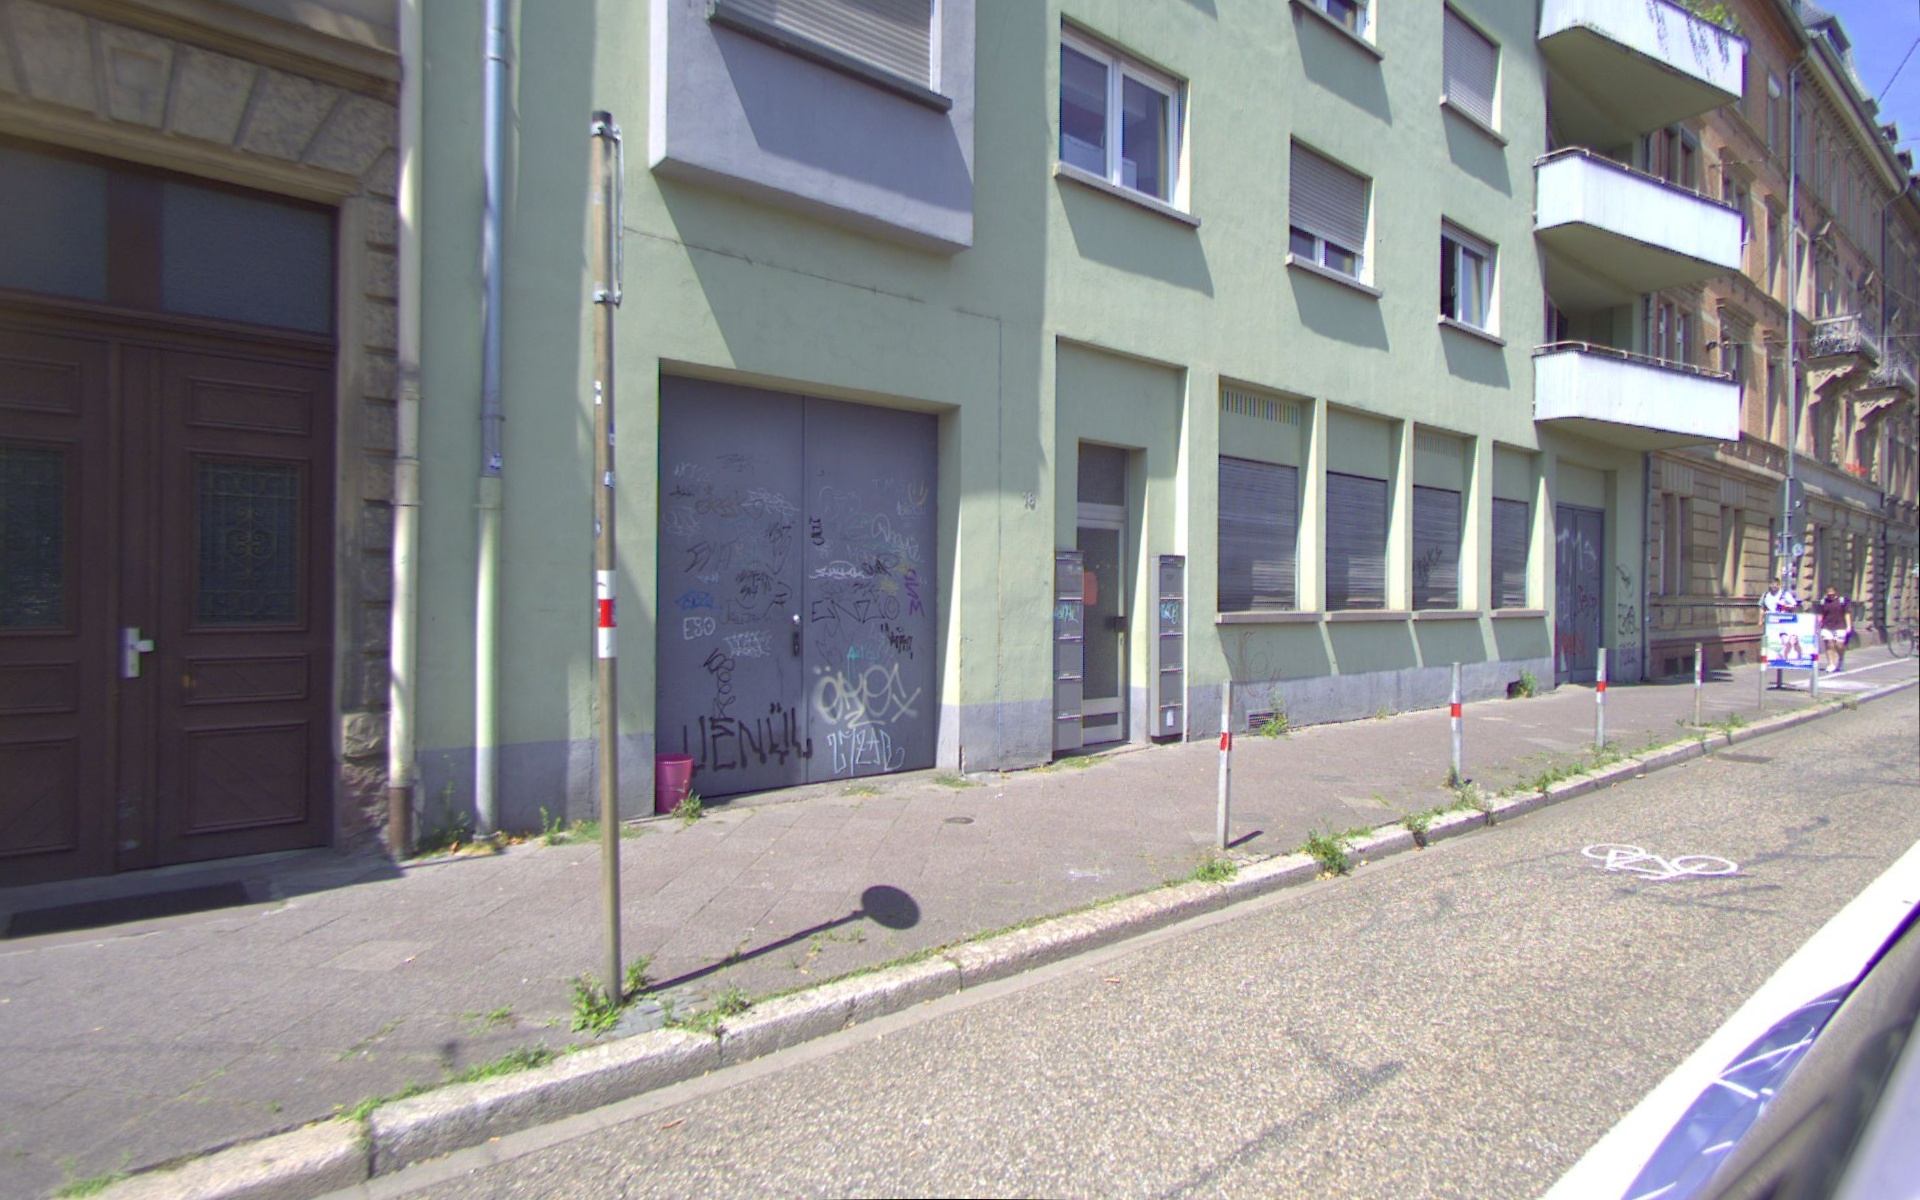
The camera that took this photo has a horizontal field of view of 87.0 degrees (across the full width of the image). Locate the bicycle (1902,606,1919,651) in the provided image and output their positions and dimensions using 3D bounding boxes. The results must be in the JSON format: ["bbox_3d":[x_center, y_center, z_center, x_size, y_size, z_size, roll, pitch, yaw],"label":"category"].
[{"bbox_3d":[25.446,0.737,26.063,2.196,1.145,0.501,0,0,-10],"label":"bicycle"}]

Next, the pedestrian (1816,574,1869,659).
[{"bbox_3d":[18.340,0.328,21.034,0.632,1.741,0.722,0,0,-38],"label":"pedestrian"}]

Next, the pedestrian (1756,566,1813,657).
[{"bbox_3d":[17.661,0.238,21.676,0.632,1.871,0.705,0,4,-38],"label":"pedestrian"}]
